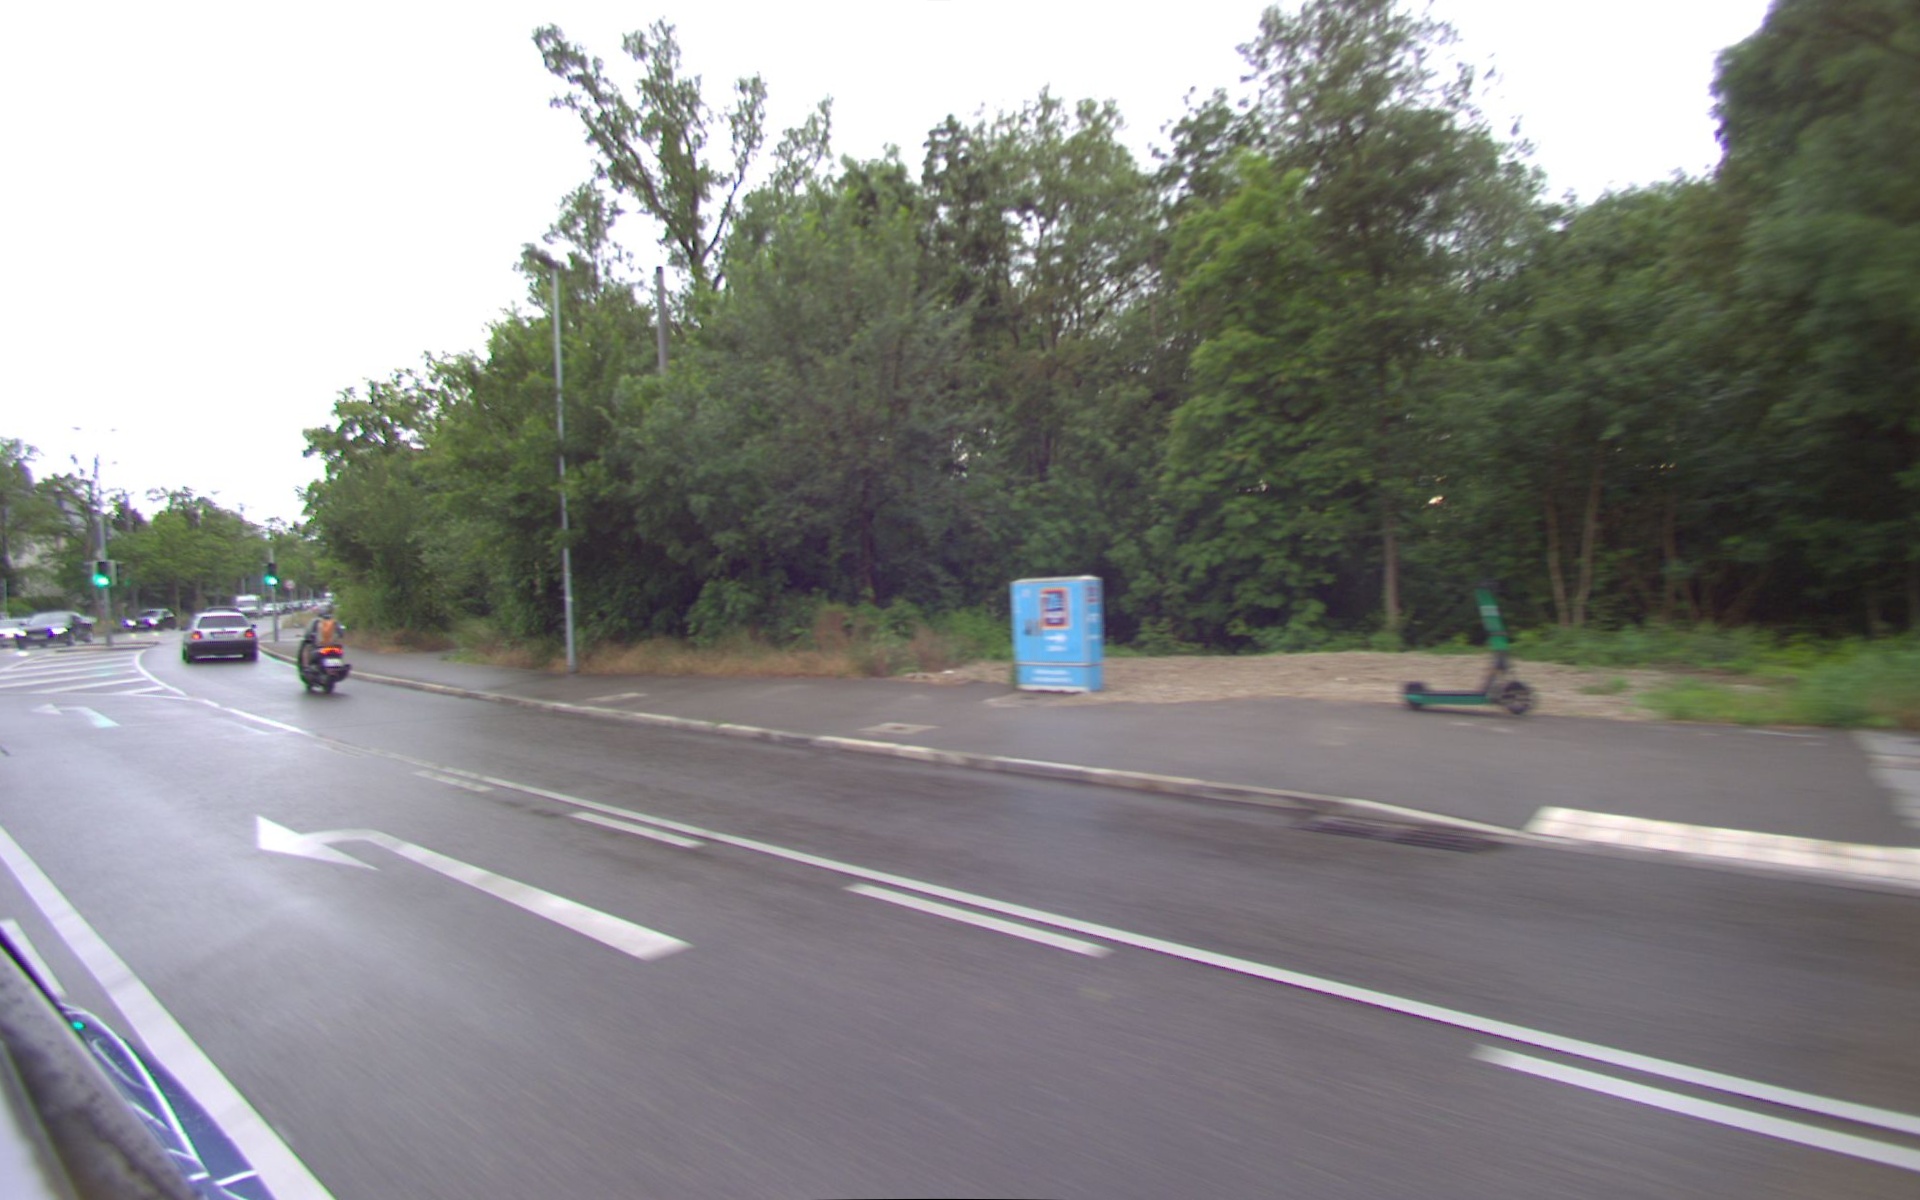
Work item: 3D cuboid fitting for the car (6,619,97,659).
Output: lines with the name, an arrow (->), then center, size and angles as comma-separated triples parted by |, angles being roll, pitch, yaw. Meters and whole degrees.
car -> -37.751, 1.584, 42.179 | 1.913, 1.466, 4.618 | -1, 0, -30

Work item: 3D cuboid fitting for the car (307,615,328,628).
car -> -70.206, 2.304, 110.599 | 1.913, 1.386, 4.617 | -1, 0, -32

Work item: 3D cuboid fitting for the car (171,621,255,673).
car -> -21.736, 1.330, 29.399 | 1.719, 1.362, 4.216 | -1, -1, -40

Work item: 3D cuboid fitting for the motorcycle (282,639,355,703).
motorcycle -> -11.475, 1.239, 18.085 | 1.998, 1.059, 0.587 | -2, -1, 42

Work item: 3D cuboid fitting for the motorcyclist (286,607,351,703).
motorcyclist -> -11.423, 0.954, 18.019 | 0.927, 1.644, 0.737 | -2, -1, 42

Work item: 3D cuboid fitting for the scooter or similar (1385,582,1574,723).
scooter or similar -> 4.858, 0.470, 9.525 | 0.511, 1.221, 1.470 | -2, 1, -44

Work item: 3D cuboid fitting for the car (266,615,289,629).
car -> -83.452, 2.621, 123.803 | 1.913, 1.615, 4.618 | -1, 0, -29

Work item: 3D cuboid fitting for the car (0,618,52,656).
car -> -43.927, 1.701, 46.807 | 1.913, 1.615, 4.618 | -1, 0, -29

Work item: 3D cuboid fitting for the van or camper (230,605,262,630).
van or camper -> -74.294, 1.773, 105.412 | 1.966, 2.471, 4.737 | -3, 1, -27

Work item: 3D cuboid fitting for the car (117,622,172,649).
car -> -51.880, 2.225, 64.461 | 1.913, 1.615, 4.618 | -1, 0, -29

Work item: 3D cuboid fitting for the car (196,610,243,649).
car -> -34.449, 1.351, 47.145 | 1.554, 1.744, 3.785 | -1, -1, -33
